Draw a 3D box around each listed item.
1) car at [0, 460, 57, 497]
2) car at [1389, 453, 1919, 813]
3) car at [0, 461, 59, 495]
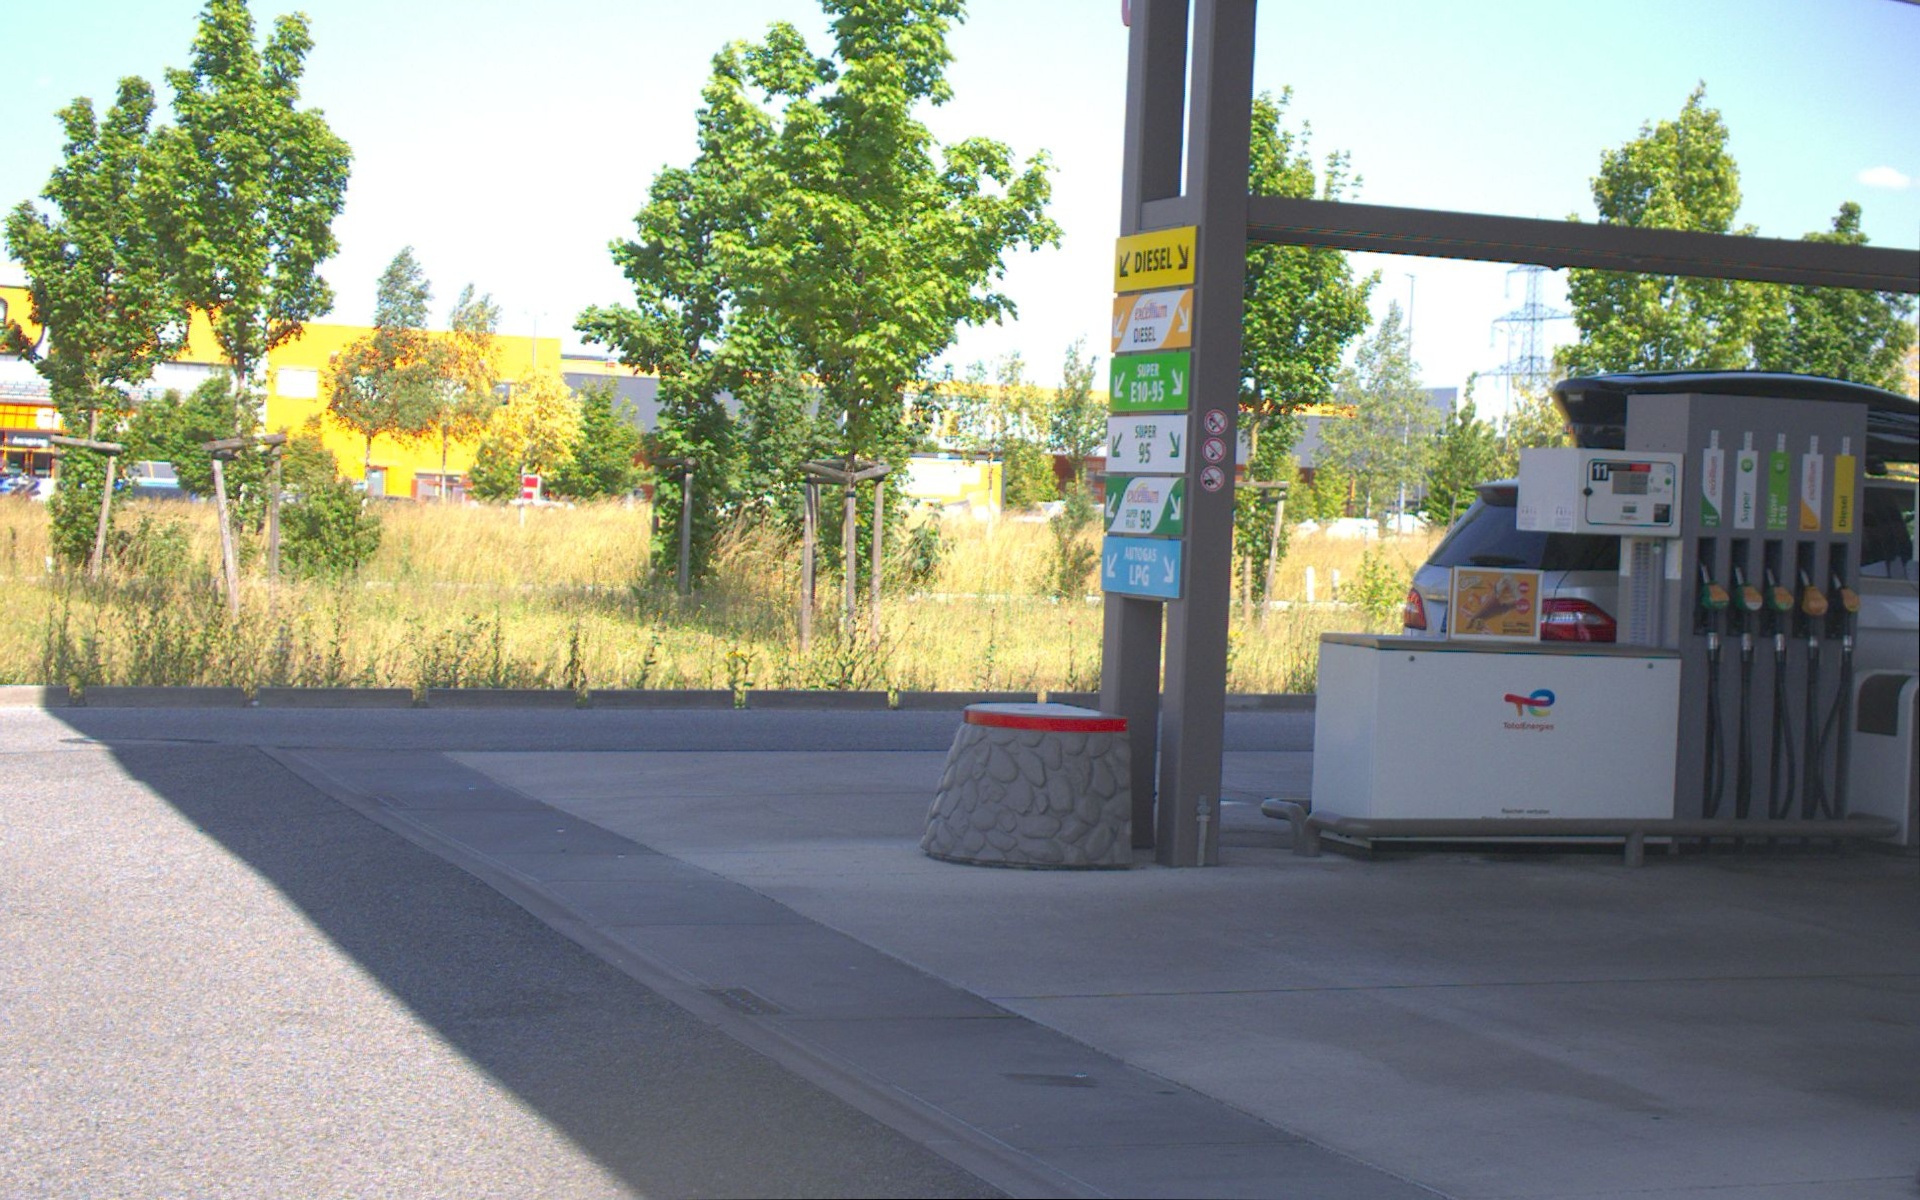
[{"bbox_3d":[-38.907,-4.970,139.762,4.155,1.465,1.672,1,2,-17],"label":"car"},{"bbox_3d":[4.693,0.155,17.831,4.520,1.681,1.866,1,2,-23],"label":"car"},{"bbox_3d":[-38.191,-4.923,137.578,4.003,1.294,1.758,1,2,-17],"label":"car"}]
